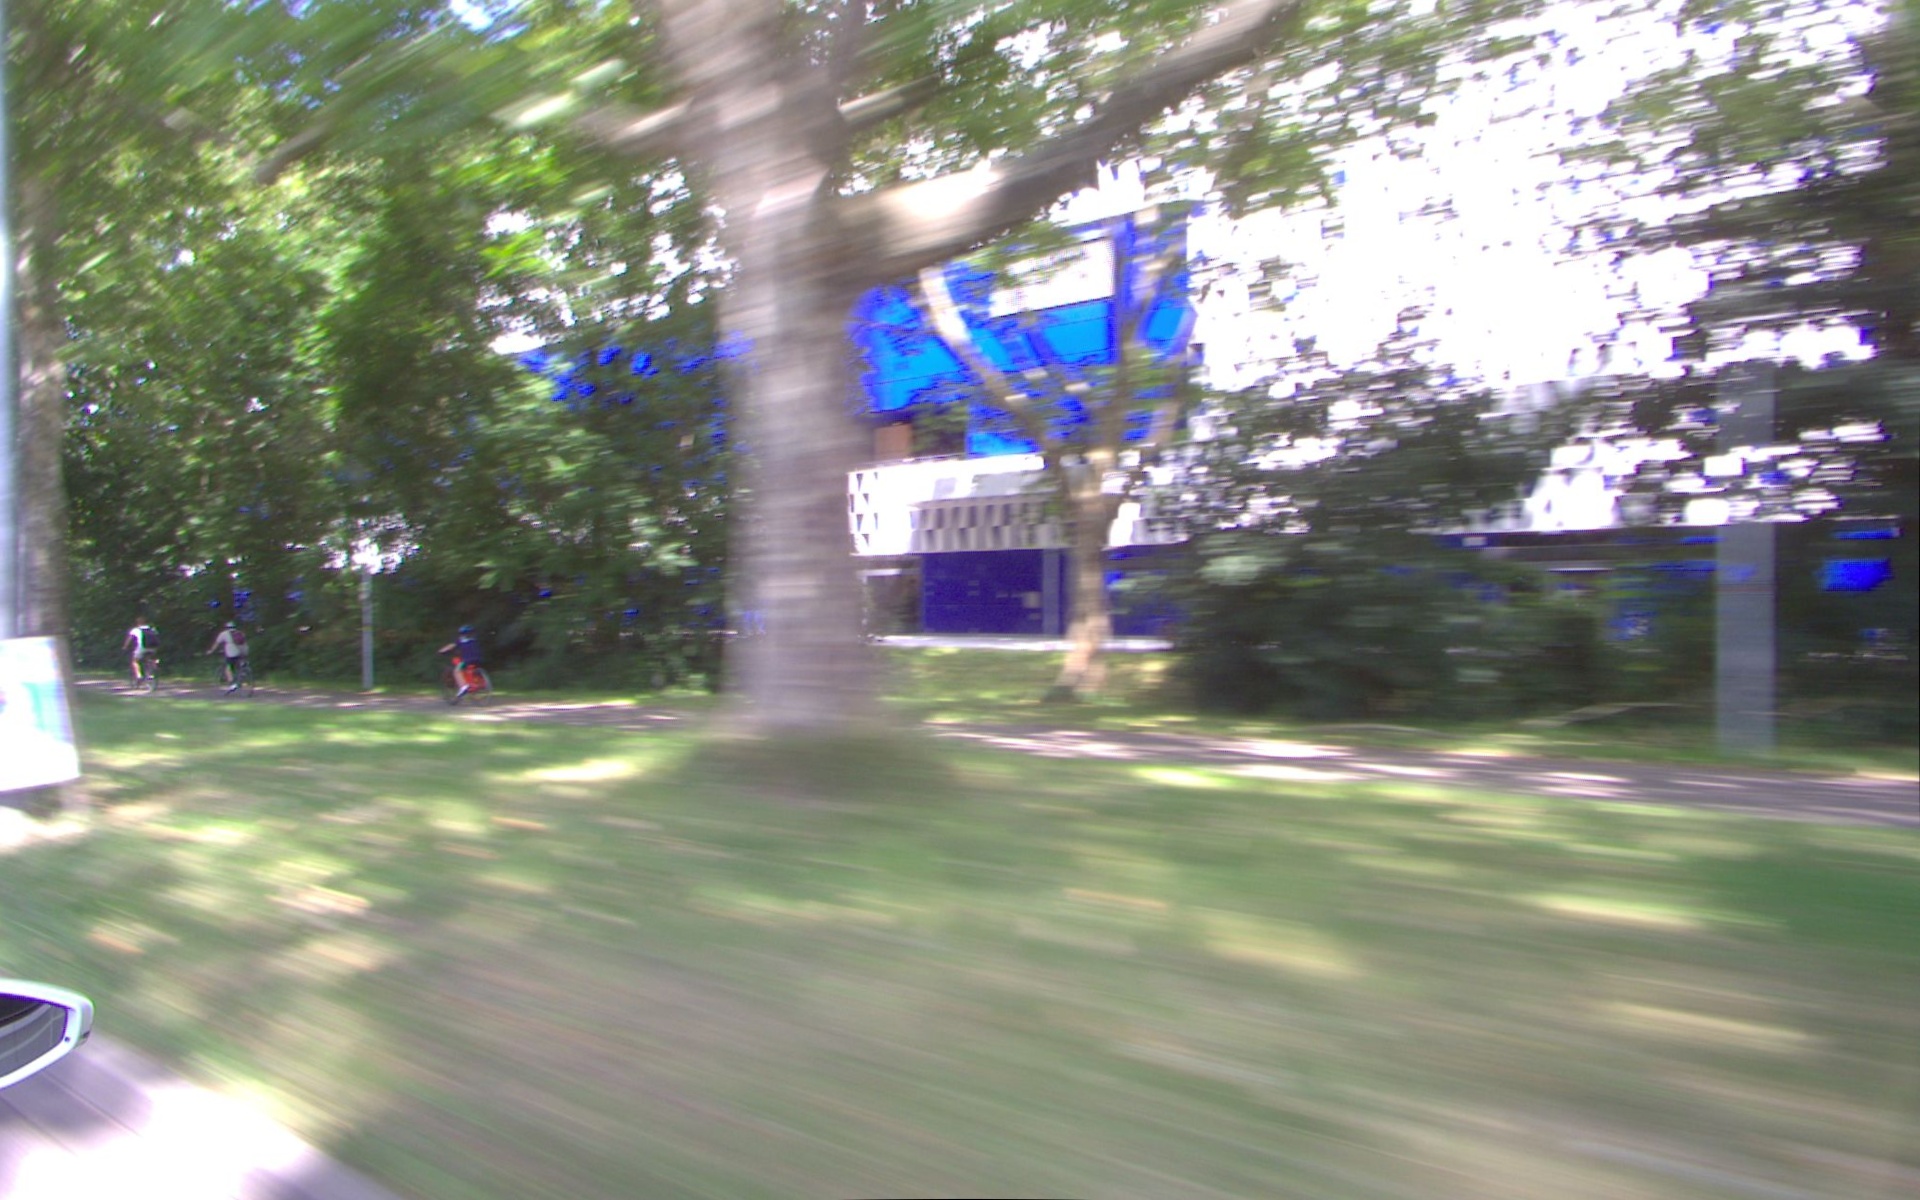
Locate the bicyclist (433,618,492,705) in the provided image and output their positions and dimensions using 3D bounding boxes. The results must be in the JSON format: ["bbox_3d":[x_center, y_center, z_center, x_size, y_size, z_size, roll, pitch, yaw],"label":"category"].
[{"bbox_3d":[-9.496,1.153,19.124,0.802,1.631,0.623,0,0,20],"label":"bicyclist"}]

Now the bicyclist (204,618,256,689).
[{"bbox_3d":[-17.019,1.237,23.352,1.038,1.620,0.657,-1,0,33],"label":"bicyclist"}]

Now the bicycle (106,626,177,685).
[{"bbox_3d":[-21.107,1.399,25.805,2.623,1.438,0.609,0,0,32],"label":"bicycle"}]

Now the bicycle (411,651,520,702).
[{"bbox_3d":[-9.431,1.441,19.097,1.987,0.898,0.646,0,0,19],"label":"bicycle"}]

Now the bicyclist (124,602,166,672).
[{"bbox_3d":[-21.087,0.944,25.913,0.831,1.768,0.596,0,0,32],"label":"bicyclist"}]

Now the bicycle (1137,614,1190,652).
[{"bbox_3d":[5.533,0.877,27.112,0.855,0.981,2.058,0,-1,28],"label":"bicycle"}]

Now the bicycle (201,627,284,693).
[{"bbox_3d":[-16.612,1.347,23.169,2.623,1.438,0.609,0,0,32],"label":"bicycle"}]
